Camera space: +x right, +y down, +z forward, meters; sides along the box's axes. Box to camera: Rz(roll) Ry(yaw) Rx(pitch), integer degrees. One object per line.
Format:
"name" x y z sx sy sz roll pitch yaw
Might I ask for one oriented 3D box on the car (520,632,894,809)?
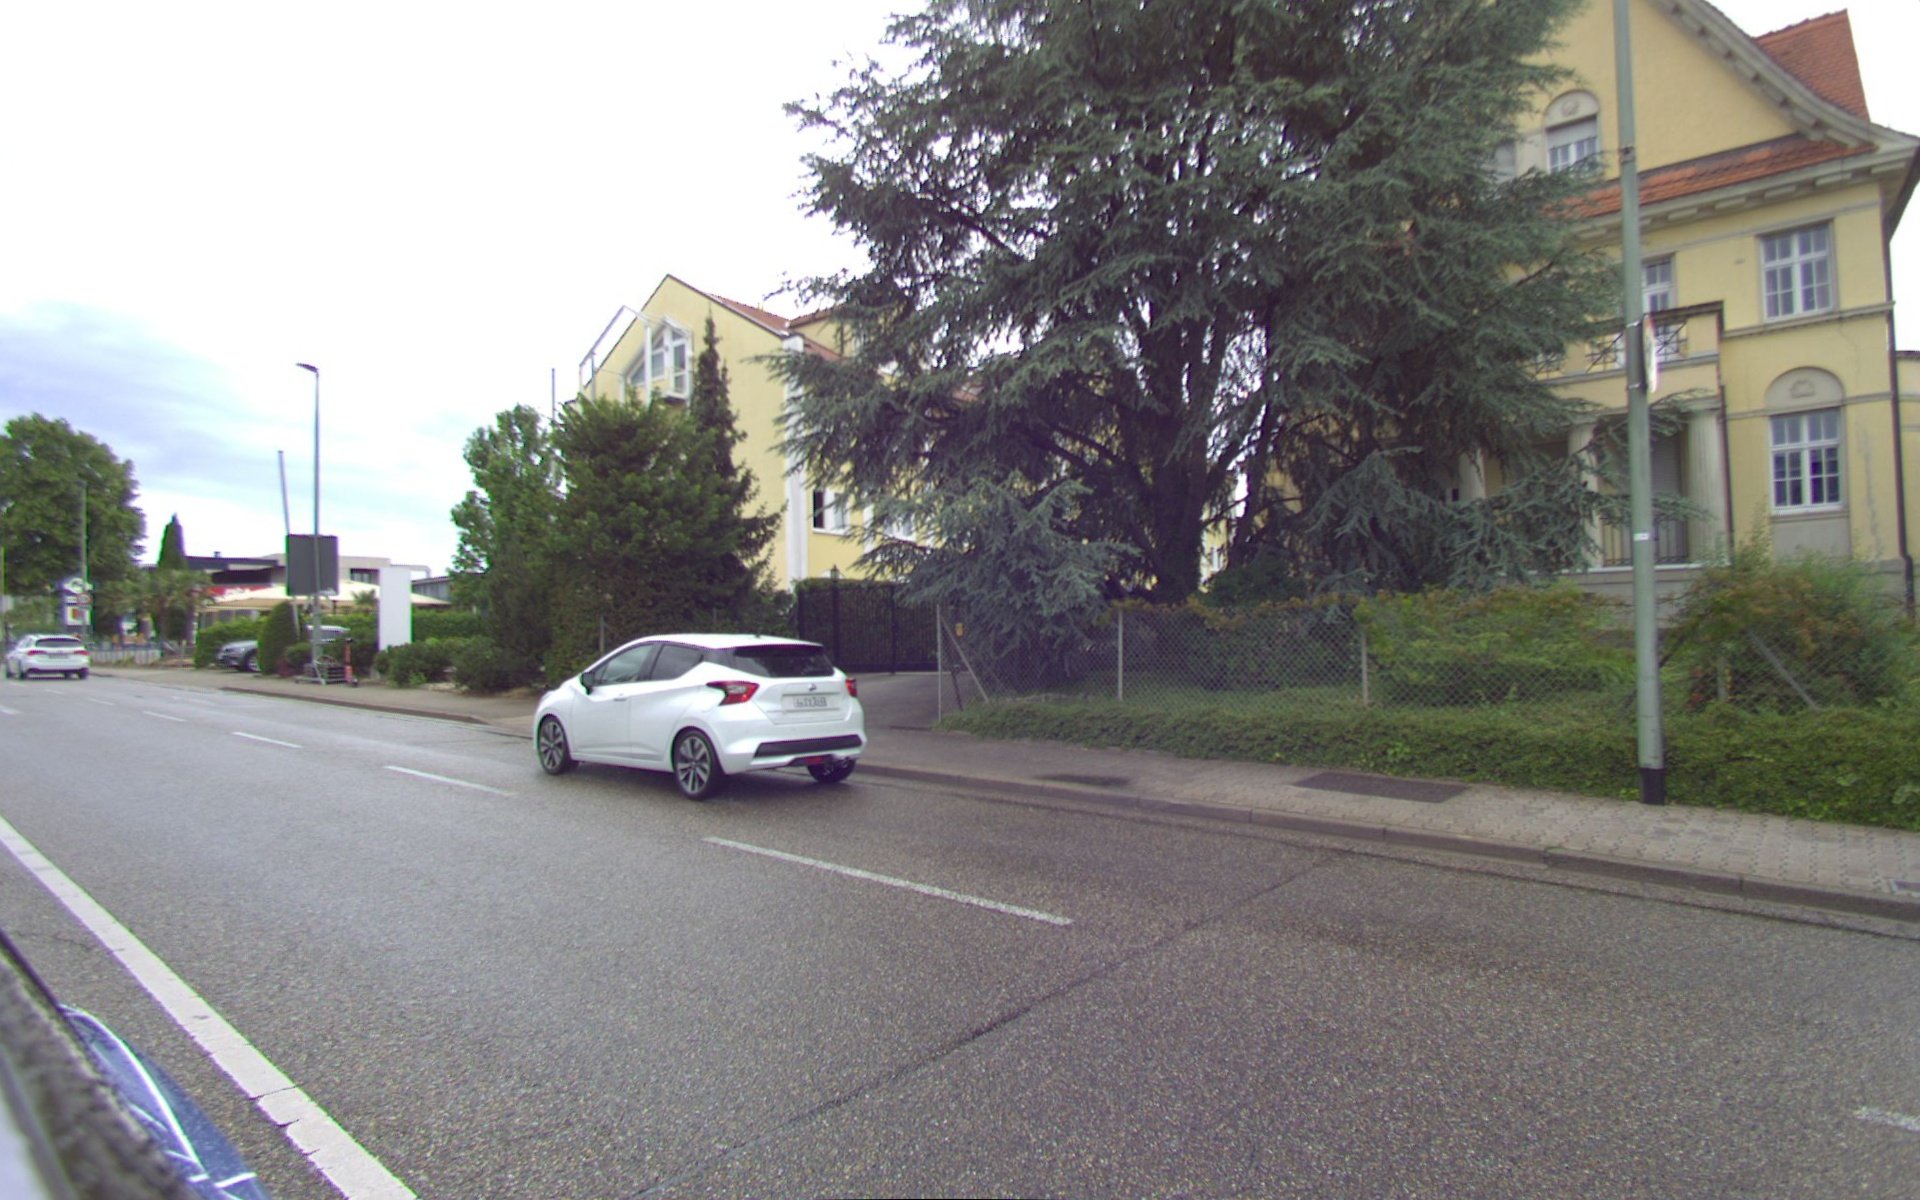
"car" -2.604 1.035 10.006 3.800 1.408 1.728 -2 -3 41

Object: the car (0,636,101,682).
"car" -30.940 1.985 34.296 4.303 1.465 1.948 -2 -5 38

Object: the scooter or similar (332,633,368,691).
"scooter or similar" -15.390 1.538 25.519 0.498 1.416 1.884 1 -2 -39

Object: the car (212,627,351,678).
"car" -24.168 1.823 36.109 3.876 1.664 1.720 1 -2 -44
